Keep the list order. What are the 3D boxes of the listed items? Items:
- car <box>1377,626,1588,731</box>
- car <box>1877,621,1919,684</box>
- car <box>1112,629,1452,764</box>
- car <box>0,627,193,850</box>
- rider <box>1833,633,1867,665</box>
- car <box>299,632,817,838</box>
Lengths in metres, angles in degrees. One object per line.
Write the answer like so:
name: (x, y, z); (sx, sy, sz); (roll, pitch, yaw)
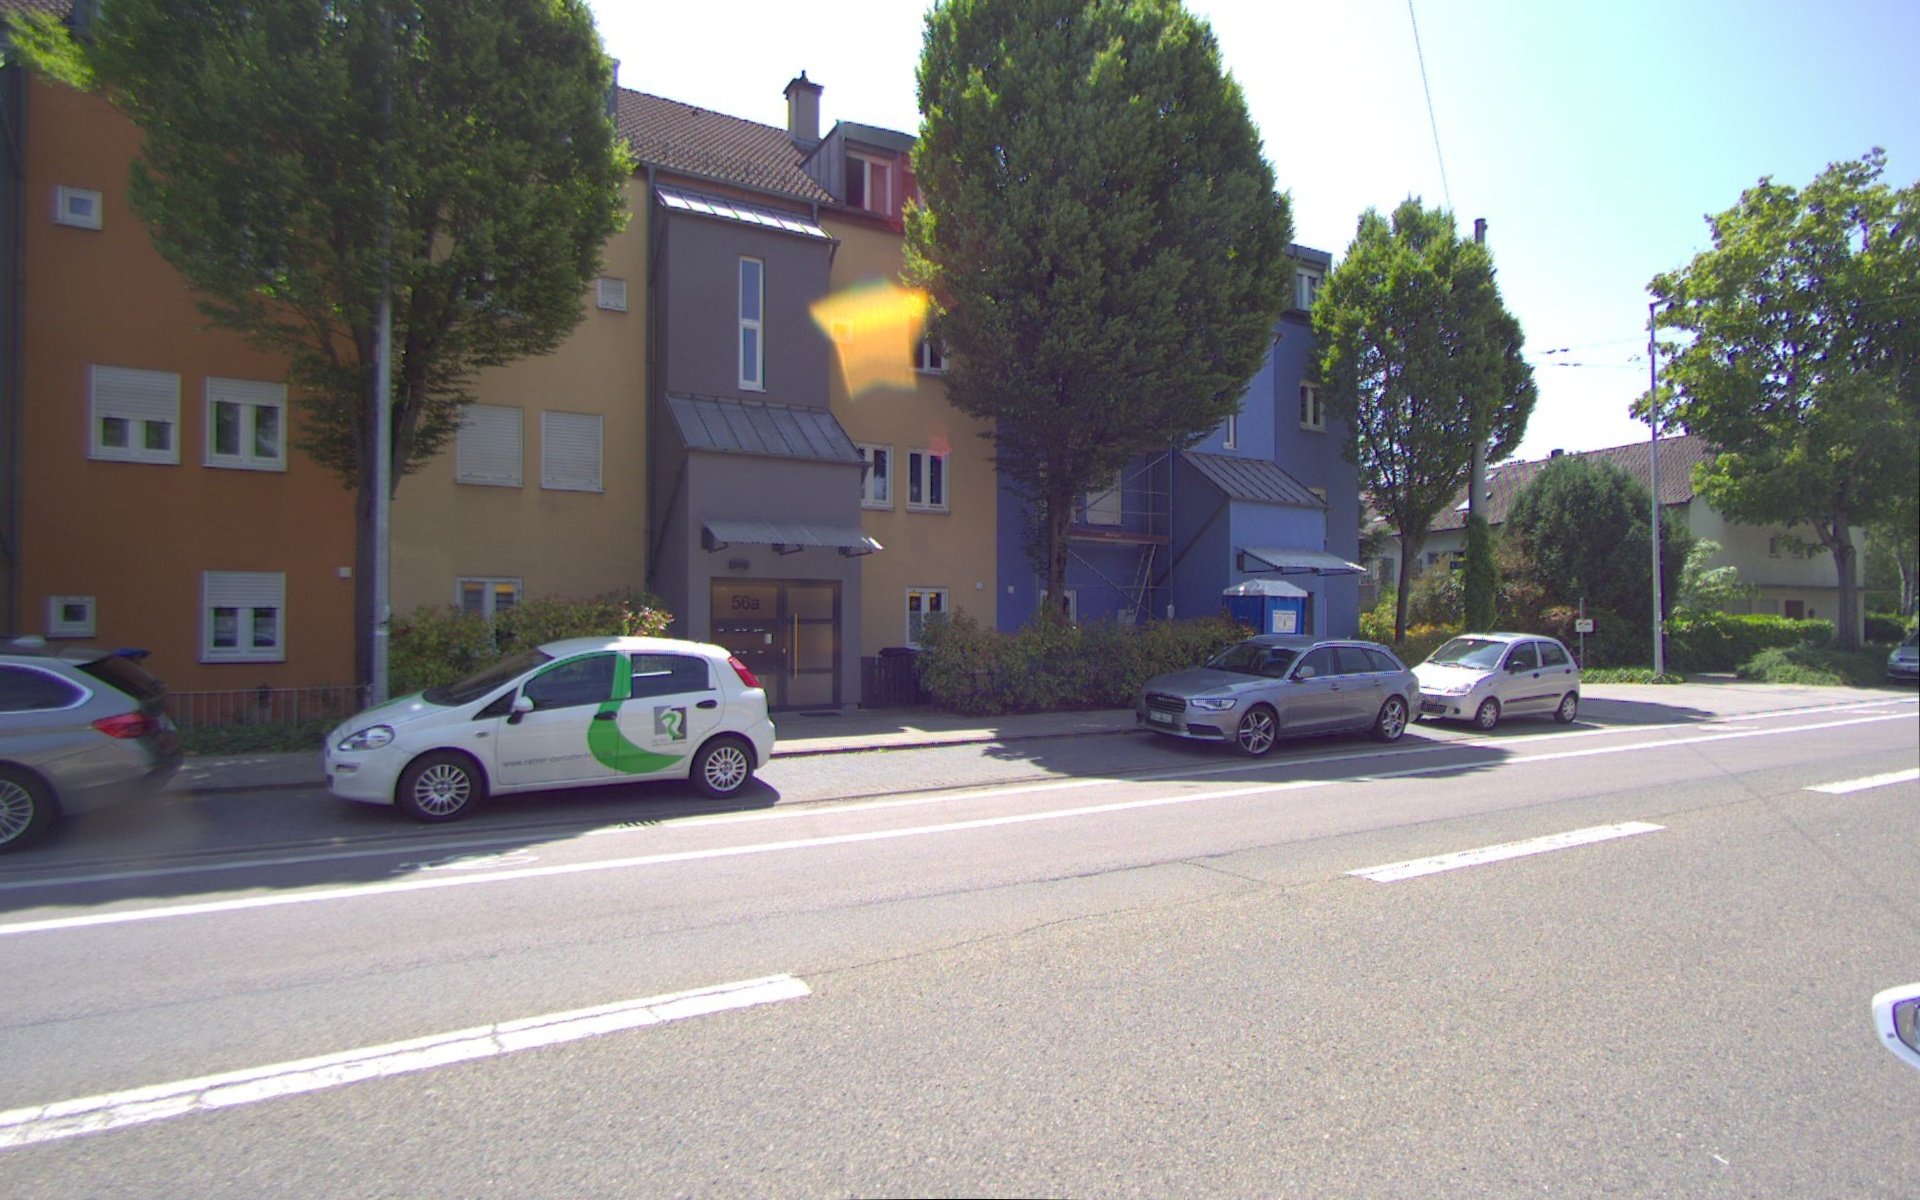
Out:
car: (8.990, 1.270, 17.245); (3.408, 1.516, 1.585); (1, 3, -30)
car: (27.801, 1.438, 28.130); (4.725, 1.686, 1.864); (1, -1, -31)
car: (4.752, 1.260, 14.531); (5.074, 1.470, 1.777); (0, 3, -32)
car: (-8.440, 0.997, 7.077); (4.701, 1.449, 1.693); (1, 3, -34)
rider: (39.120, 2.136, 44.156); (0.800, 1.392, 0.824); (0, -2, -22)
car: (-3.773, 1.129, 9.808); (4.369, 1.462, 1.737); (1, 3, -31)
